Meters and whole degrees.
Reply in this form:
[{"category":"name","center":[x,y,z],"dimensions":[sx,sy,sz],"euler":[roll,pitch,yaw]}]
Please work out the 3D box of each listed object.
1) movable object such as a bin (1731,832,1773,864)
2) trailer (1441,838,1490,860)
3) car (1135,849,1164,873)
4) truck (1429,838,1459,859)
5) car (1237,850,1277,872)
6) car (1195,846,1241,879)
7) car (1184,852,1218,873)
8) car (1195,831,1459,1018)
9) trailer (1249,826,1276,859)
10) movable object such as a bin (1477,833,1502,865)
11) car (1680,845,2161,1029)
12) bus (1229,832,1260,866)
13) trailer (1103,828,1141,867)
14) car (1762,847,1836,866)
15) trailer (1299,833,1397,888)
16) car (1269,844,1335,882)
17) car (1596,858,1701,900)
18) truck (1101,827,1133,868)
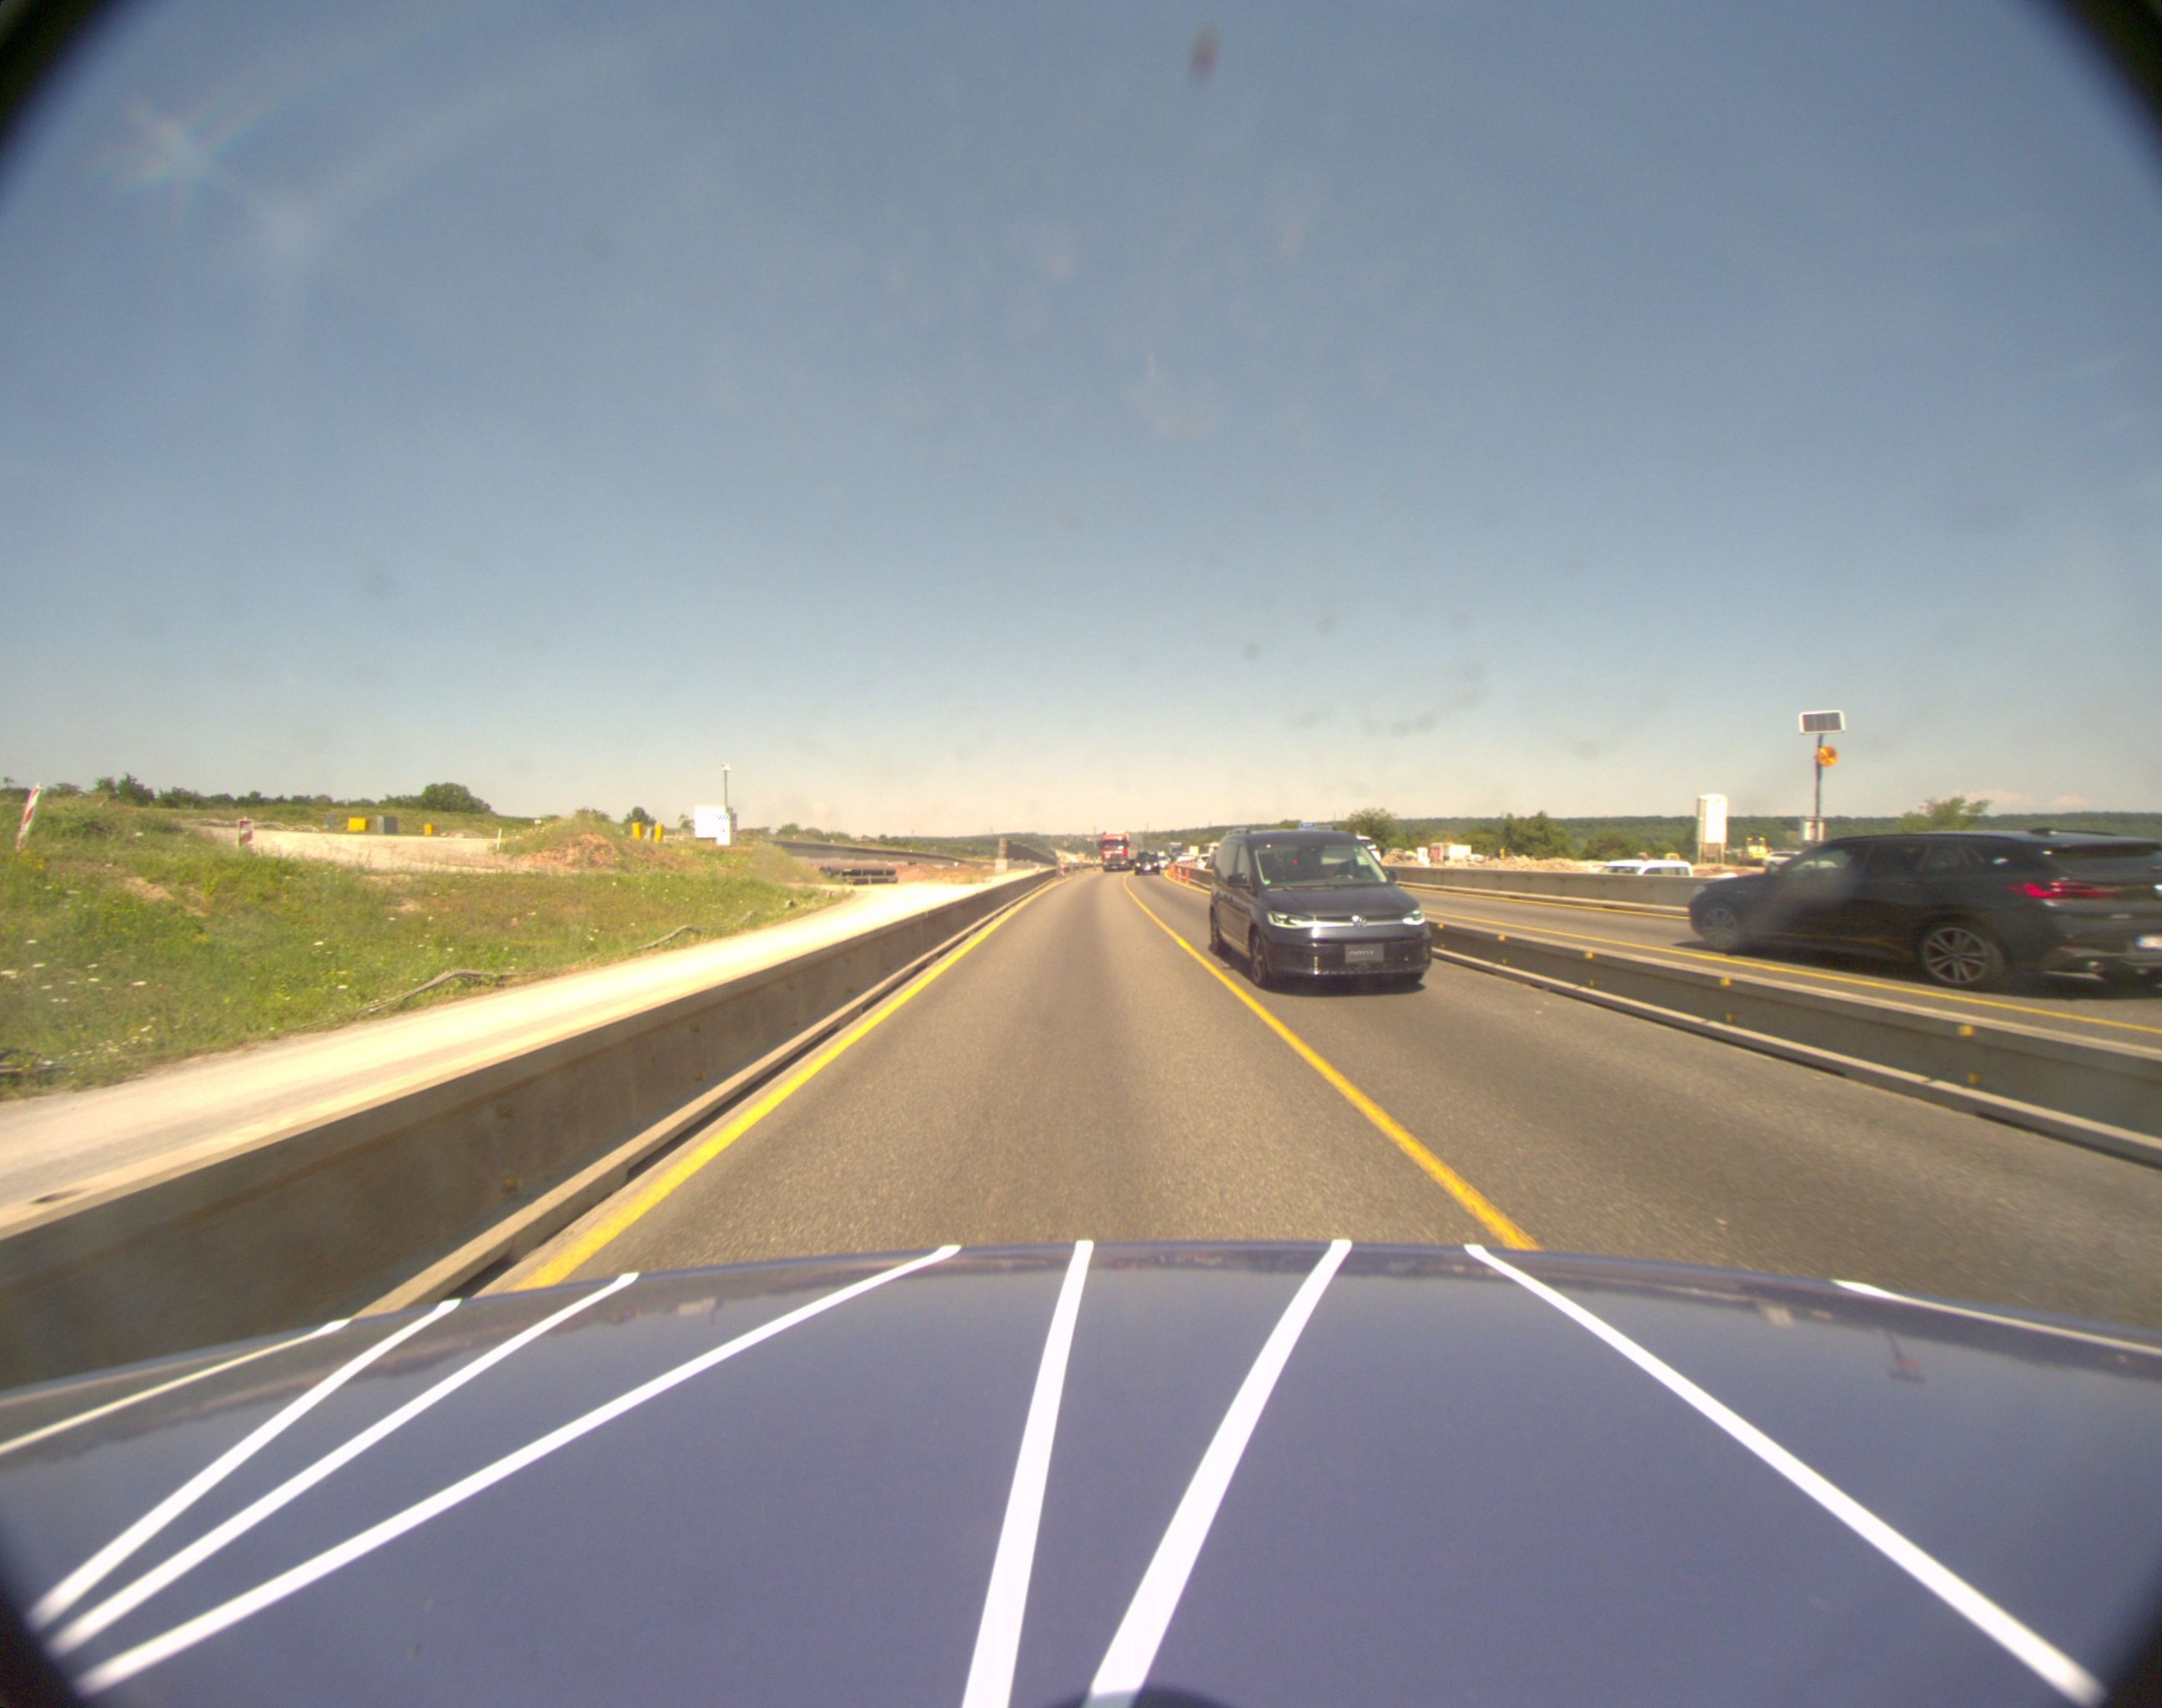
[{"category":"movable object such as a bin","center":[68.297,-0.588,77.392],"dimensions":[1.995,3.122,4.493],"euler":[-1,0,25]},{"category":"trailer","center":[55.125,-0.707,109.000],"dimensions":[5.578,2.979,2.883],"euler":[-1,1,-1]},{"category":"car","center":[5.279,0.503,59.228],"dimensions":[1.799,1.776,3.999],"euler":[-1,0,-1]},{"category":"truck","center":[54.394,-0.813,113.893],"dimensions":[2.347,3.026,4.264],"euler":[-1,0,-1]},{"category":"car","center":[12.035,0.472,52.247],"dimensions":[1.825,1.415,4.647],"euler":[-1,0,2]},{"category":"car","center":[6.932,0.412,38.744],"dimensions":[1.698,1.570,4.134],"euler":[-1,0,2]},{"category":"car","center":[8.790,0.615,56.002],"dimensions":[1.820,1.447,4.635],"euler":[-1,0,1]},{"category":"car","center":[2.767,0.683,9.792],"dimensions":[1.926,1.779,4.603],"euler":[-2,0,1]},{"category":"trailer","center":[24.590,-1.534,102.318],"dimensions":[2.763,4.090,13.994],"euler":[-1,0,17]},{"category":"movable object such as a bin","center":[40.615,-0.484,75.627],"dimensions":[1.995,3.122,4.284],"euler":[-1,0,25]},{"category":"car","center":[9.157,0.660,8.326],"dimensions":[1.729,1.470,4.392],"euler":[-1,0,0]},{"category":"bus","center":[15.709,-0.463,73.333],"dimensions":[2.353,3.107,7.233],"euler":[-1,0,8]},{"category":"trailer","center":[4.619,-0.708,82.653],"dimensions":[2.699,3.852,12.431],"euler":[-1,0,9]},{"category":"car","center":[57.334,0.174,60.790],"dimensions":[1.616,1.401,4.445],"euler":[-1,0,-2]},{"category":"trailer","center":[10.465,0.237,30.270],"dimensions":[2.136,1.970,5.235],"euler":[1,0,1]},{"category":"car","center":[10.702,0.413,37.127],"dimensions":[1.928,1.669,4.717],"euler":[-2,0,1]},{"category":"car","center":[20.832,0.882,27.920],"dimensions":[3.204,1.447,1.545],"euler":[-1,0,-18]},{"category":"truck","center":[3.704,-0.627,76.261],"dimensions":[2.625,3.880,4.937],"euler":[-1,0,9]}]
